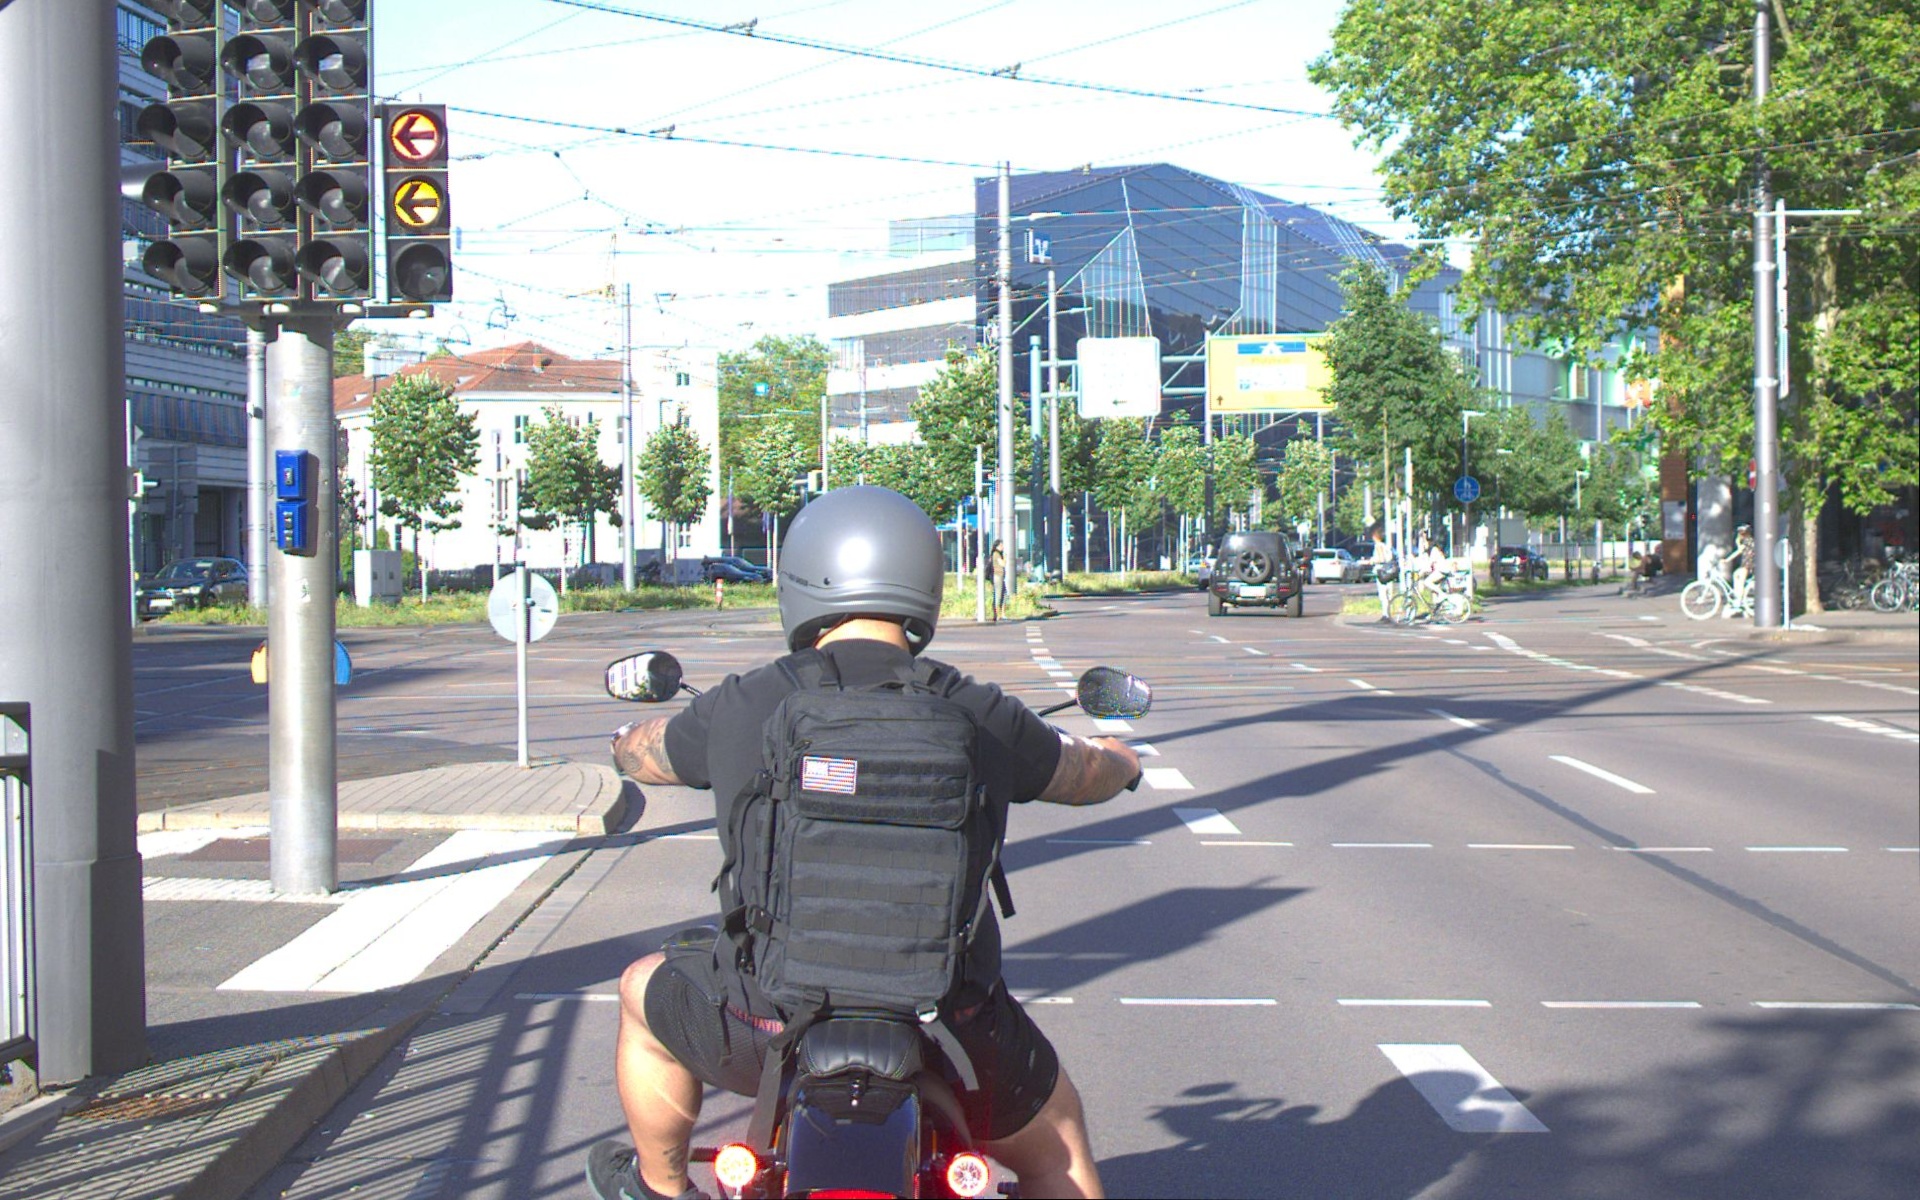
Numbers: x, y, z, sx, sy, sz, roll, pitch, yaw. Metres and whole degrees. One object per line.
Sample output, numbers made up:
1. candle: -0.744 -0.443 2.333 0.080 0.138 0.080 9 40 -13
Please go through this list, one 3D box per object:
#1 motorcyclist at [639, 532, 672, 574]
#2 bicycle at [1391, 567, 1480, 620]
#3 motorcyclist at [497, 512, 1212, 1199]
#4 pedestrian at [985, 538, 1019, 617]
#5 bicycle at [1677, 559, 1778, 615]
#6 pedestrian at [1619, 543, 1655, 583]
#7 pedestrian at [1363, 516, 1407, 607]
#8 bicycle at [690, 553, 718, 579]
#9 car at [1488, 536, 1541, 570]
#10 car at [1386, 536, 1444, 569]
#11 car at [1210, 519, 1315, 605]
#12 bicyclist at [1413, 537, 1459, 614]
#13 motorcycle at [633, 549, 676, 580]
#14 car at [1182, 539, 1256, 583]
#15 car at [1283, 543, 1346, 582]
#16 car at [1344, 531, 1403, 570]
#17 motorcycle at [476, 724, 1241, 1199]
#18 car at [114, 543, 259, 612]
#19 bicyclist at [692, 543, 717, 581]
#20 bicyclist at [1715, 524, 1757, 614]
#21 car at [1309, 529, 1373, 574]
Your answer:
1. motorcyclist: -12.597 -1.963 142.264 1.019 1.725 1.460 0 1 11
2. bicycle: 9.287 -0.134 67.203 1.629 1.018 0.516 -1 0 23
3. motorcyclist: -0.164 0.641 5.624 1.022 1.547 1.286 1 1 -1
4. pedestrian: 0.839 -0.457 68.963 0.657 1.577 0.489 0 1 3
5. bicycle: 14.561 -0.247 65.275 1.853 1.018 0.516 -1 0 11
6. pedestrian: 17.866 -0.981 90.673 0.785 1.053 0.813 0 1 22
7. pedestrian: 8.558 -0.772 69.273 0.701 1.830 0.514 1 0 35
8. bicycle: -11.142 -1.477 149.567 0.643 1.104 1.683 0 1 18
9. car: 25.024 -2.111 154.999 1.843 1.459 3.997 1 1 17
10. car: 20.675 -2.168 156.067 1.722 1.479 3.750 0 1 22
11. car: 6.863 -0.849 77.706 2.054 1.867 4.225 1 1 9
12. bicyclist: 9.309 -0.483 67.172 0.743 1.498 0.569 -1 0 23
13. motorcycle: -12.616 -1.475 142.178 0.984 1.227 2.941 0 1 11
14. car: 9.211 -1.386 122.003 1.903 1.503 3.997 1 1 15
15. car: 14.062 -1.492 136.188 1.775 1.509 3.729 0 1 17
16. car: 17.887 -2.149 148.500 1.722 1.651 3.750 0 1 20
17. motorcycle: -0.151 0.838 5.716 1.005 1.121 2.323 1 1 -1
18. car: -17.704 -0.528 78.869 1.792 1.461 4.310 -1 2 8
19. bicyclist: -11.112 -1.652 149.560 0.764 1.661 0.993 0 1 18
20. bicyclist: 14.726 -0.584 65.237 0.743 1.689 0.570 -1 0 11
21. car: 15.670 -2.011 141.304 1.821 1.811 3.940 0 1 18
